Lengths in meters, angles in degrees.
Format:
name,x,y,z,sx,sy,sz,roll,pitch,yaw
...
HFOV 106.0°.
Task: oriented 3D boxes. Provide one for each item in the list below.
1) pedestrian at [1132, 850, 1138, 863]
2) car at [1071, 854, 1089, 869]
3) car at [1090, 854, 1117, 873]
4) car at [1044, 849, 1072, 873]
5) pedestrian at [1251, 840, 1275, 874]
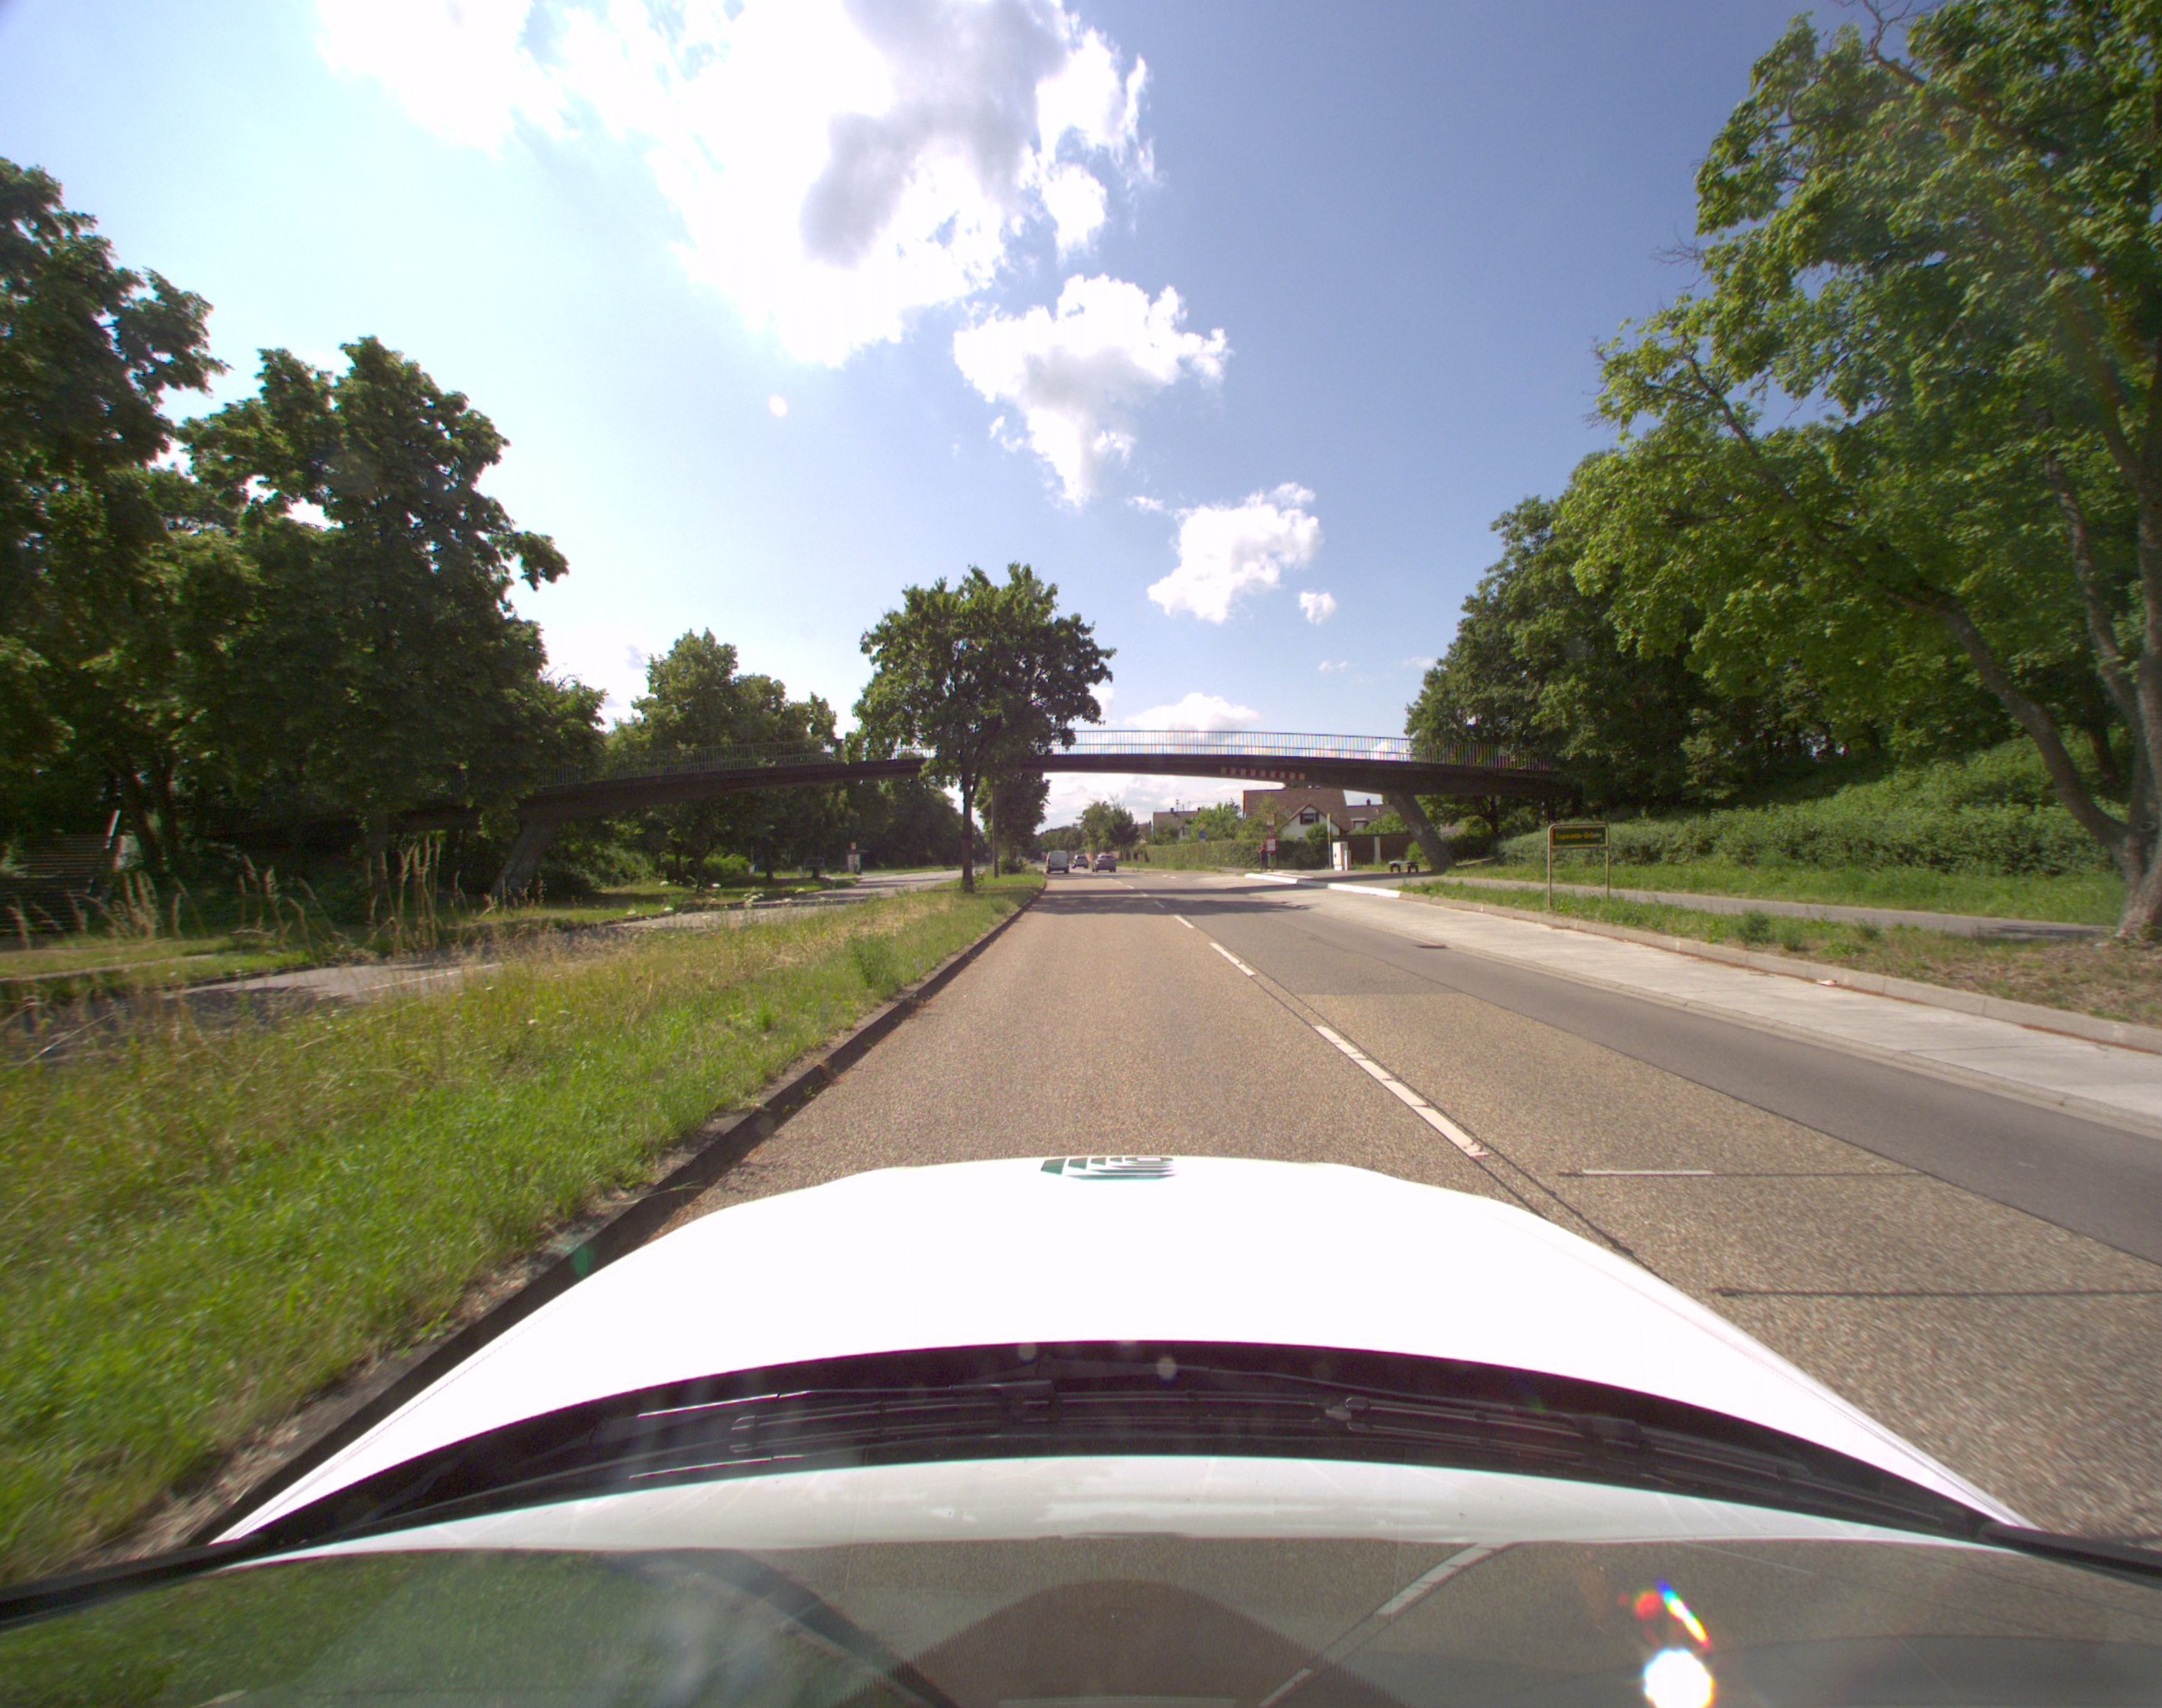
name,x,y,z,sx,sy,sz,roll,pitch,yaw
pedestrian,6.660,0.306,99.900,0.559,1.677,0.633,-1,-1,-6
car,-0.136,0.887,98.410,1.872,1.652,3.993,-2,0,-5
car,1.957,0.802,70.592,1.872,1.589,4.177,-2,0,-5
car,-1.939,0.583,68.019,2.062,1.912,4.638,-1,0,-5
pedestrian,10.137,0.171,45.487,0.952,1.824,1.087,-3,-3,-2
